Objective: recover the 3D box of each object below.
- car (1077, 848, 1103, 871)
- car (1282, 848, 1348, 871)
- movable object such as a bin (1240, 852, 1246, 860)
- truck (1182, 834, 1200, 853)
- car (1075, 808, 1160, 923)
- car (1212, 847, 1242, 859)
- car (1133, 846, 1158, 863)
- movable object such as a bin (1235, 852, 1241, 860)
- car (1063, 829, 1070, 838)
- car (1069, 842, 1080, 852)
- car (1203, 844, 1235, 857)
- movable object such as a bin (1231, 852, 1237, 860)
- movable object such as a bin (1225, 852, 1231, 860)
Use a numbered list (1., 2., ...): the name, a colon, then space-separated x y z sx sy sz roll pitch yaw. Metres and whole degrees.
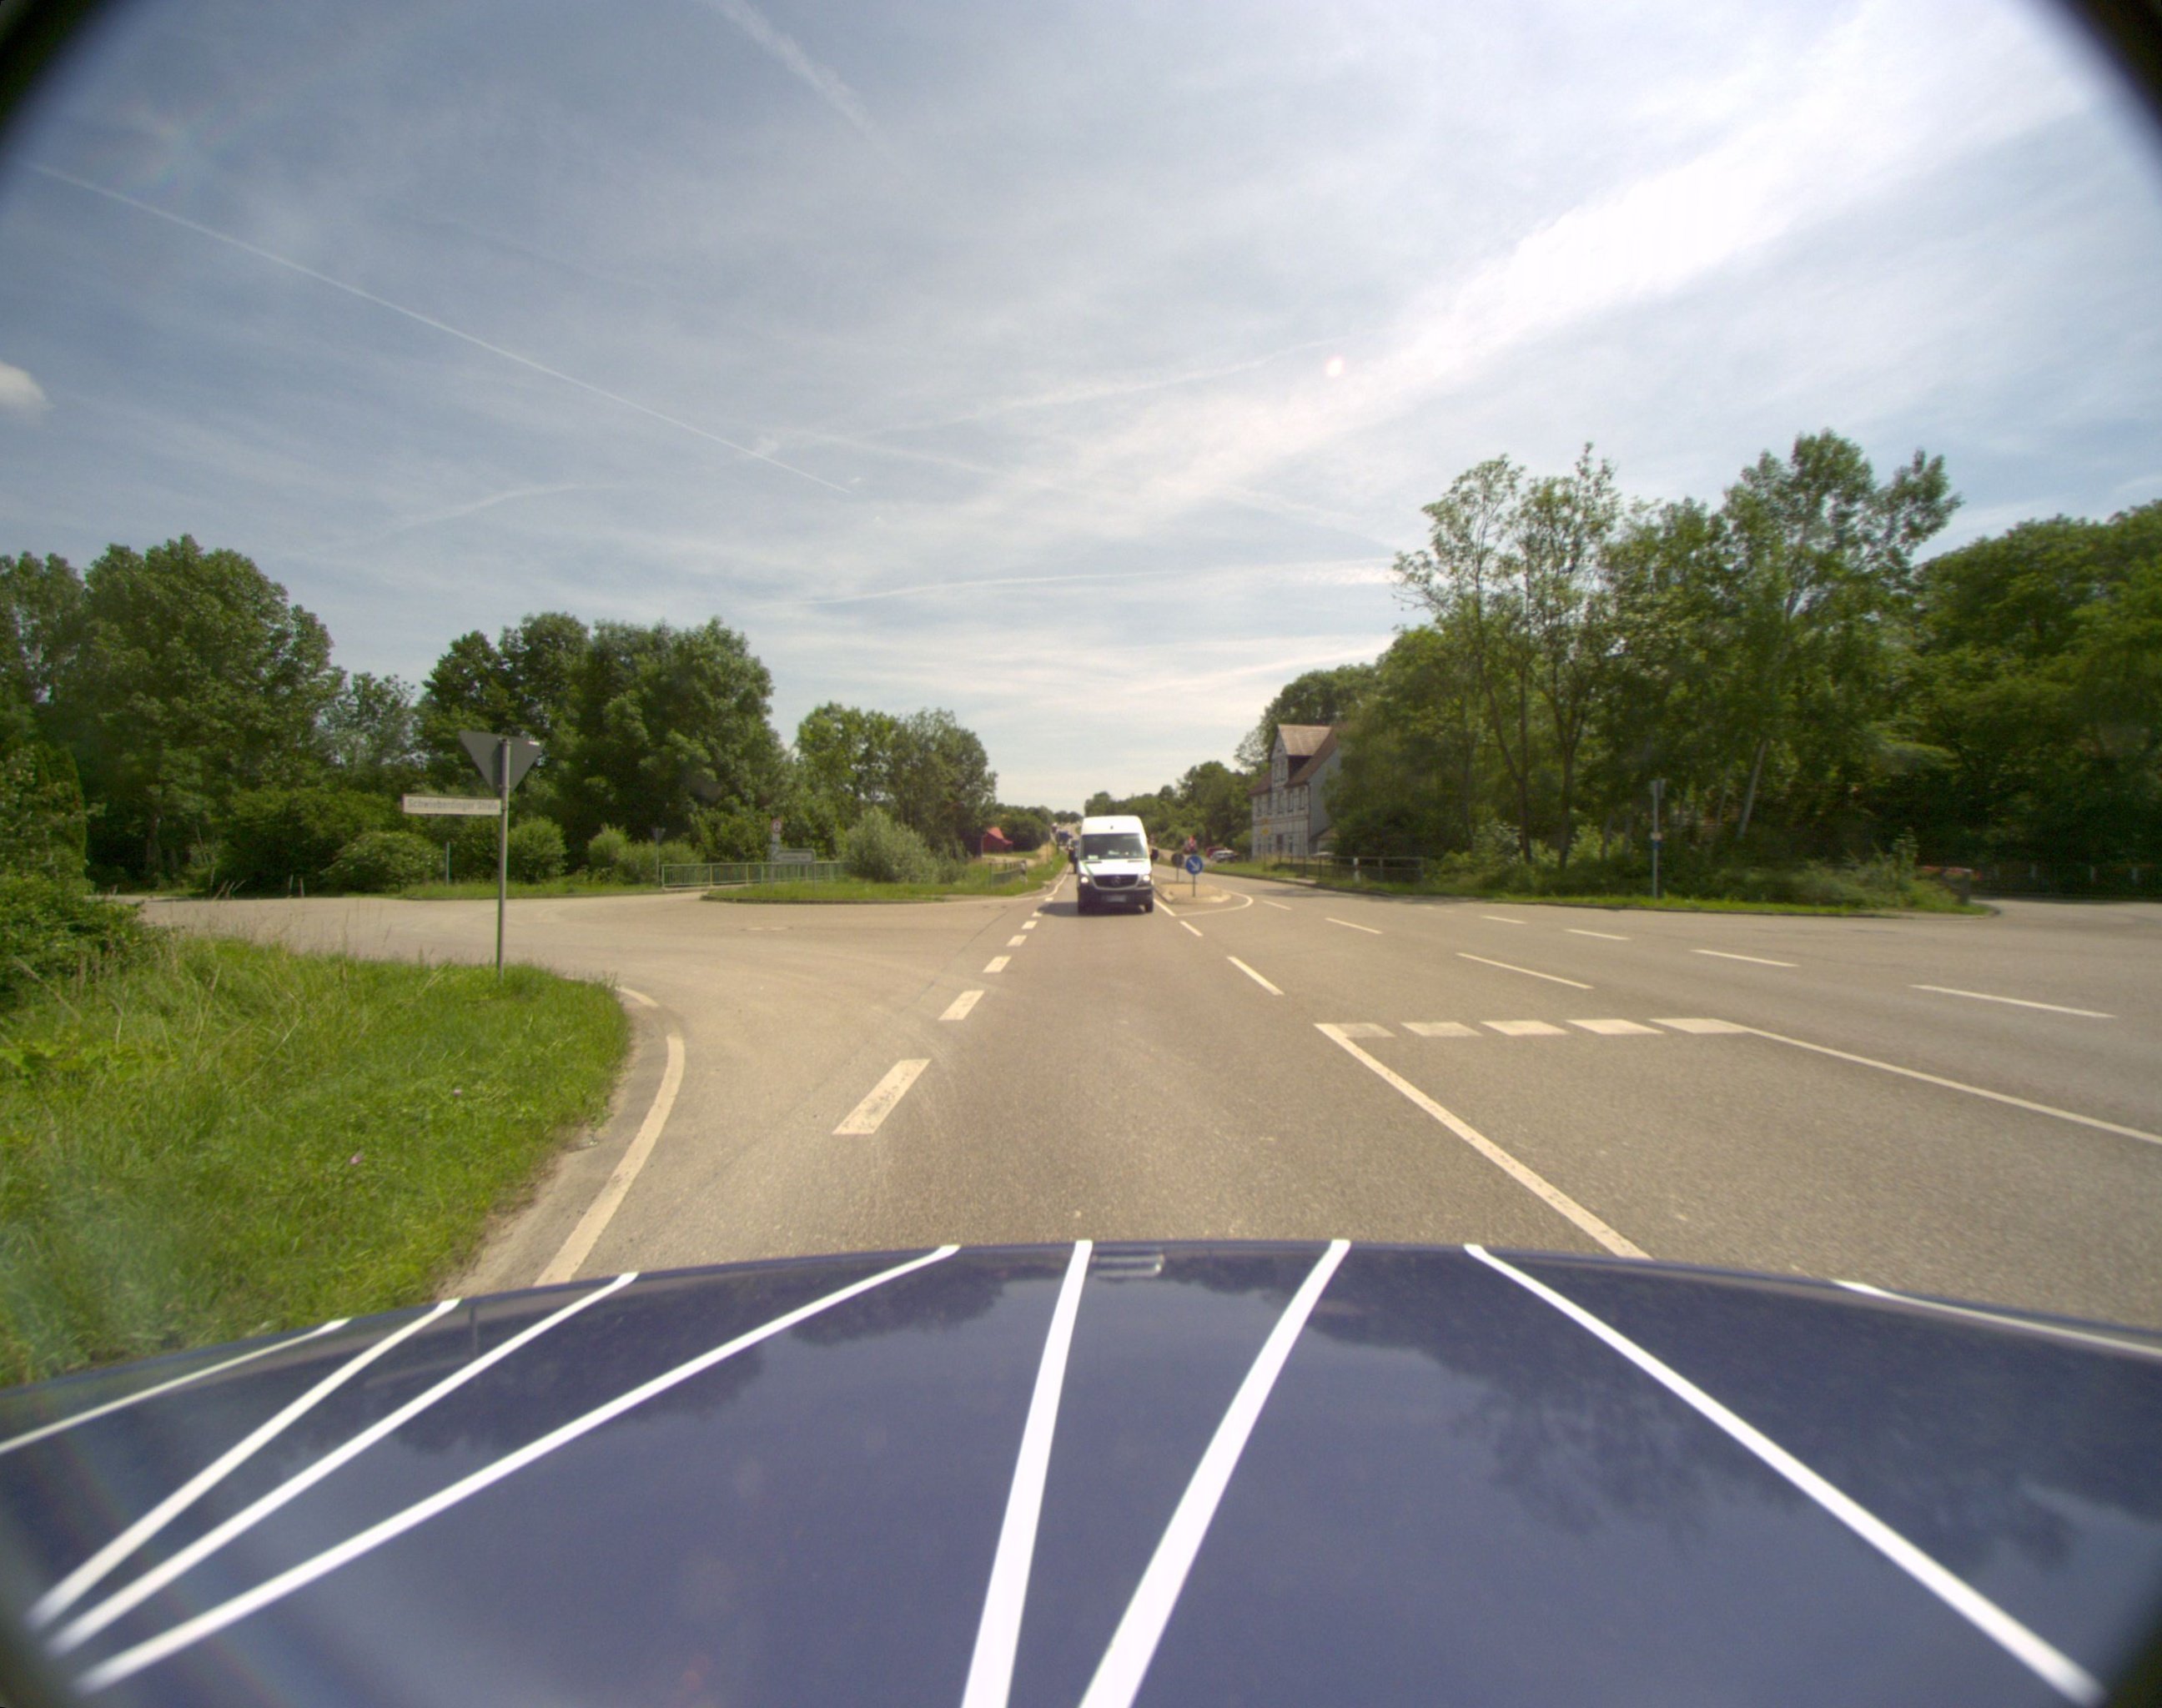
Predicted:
1. car: 0.660 0.408 57.001 1.848 1.692 4.242 0 0 0
2. car: 18.488 0.426 60.134 4.677 1.710 1.861 -1 -1 -4
3. movable object such as a bin: 19.862 0.205 92.936 0.505 0.971 0.654 -1 3 -8
4. truck: 18.212 -1.716 126.206 2.031 2.947 6.771 -2 2 1
5. car: 0.852 0.239 20.571 1.961 2.656 5.679 -1 1 0
6. car: 18.319 -0.135 95.318 3.387 1.457 1.609 -2 2 -6
7. car: 6.240 0.009 73.824 1.953 1.644 4.431 0 1 0
8. movable object such as a bin: 19.170 0.247 92.782 0.505 0.966 0.654 -1 3 -8
9. car: -3.933 -5.563 206.907 1.998 2.166 3.999 -1 1 0
10. car: -1.181 -1.332 139.310 1.849 1.693 4.240 0 3 -2
11. car: 19.107 -0.524 105.381 4.037 1.609 1.832 -1 2 1
12. movable object such as a bin: 18.626 0.249 92.713 0.505 0.964 0.654 -1 3 -8
13. movable object such as a bin: 17.925 0.286 92.690 0.505 0.931 0.654 -1 3 -8
